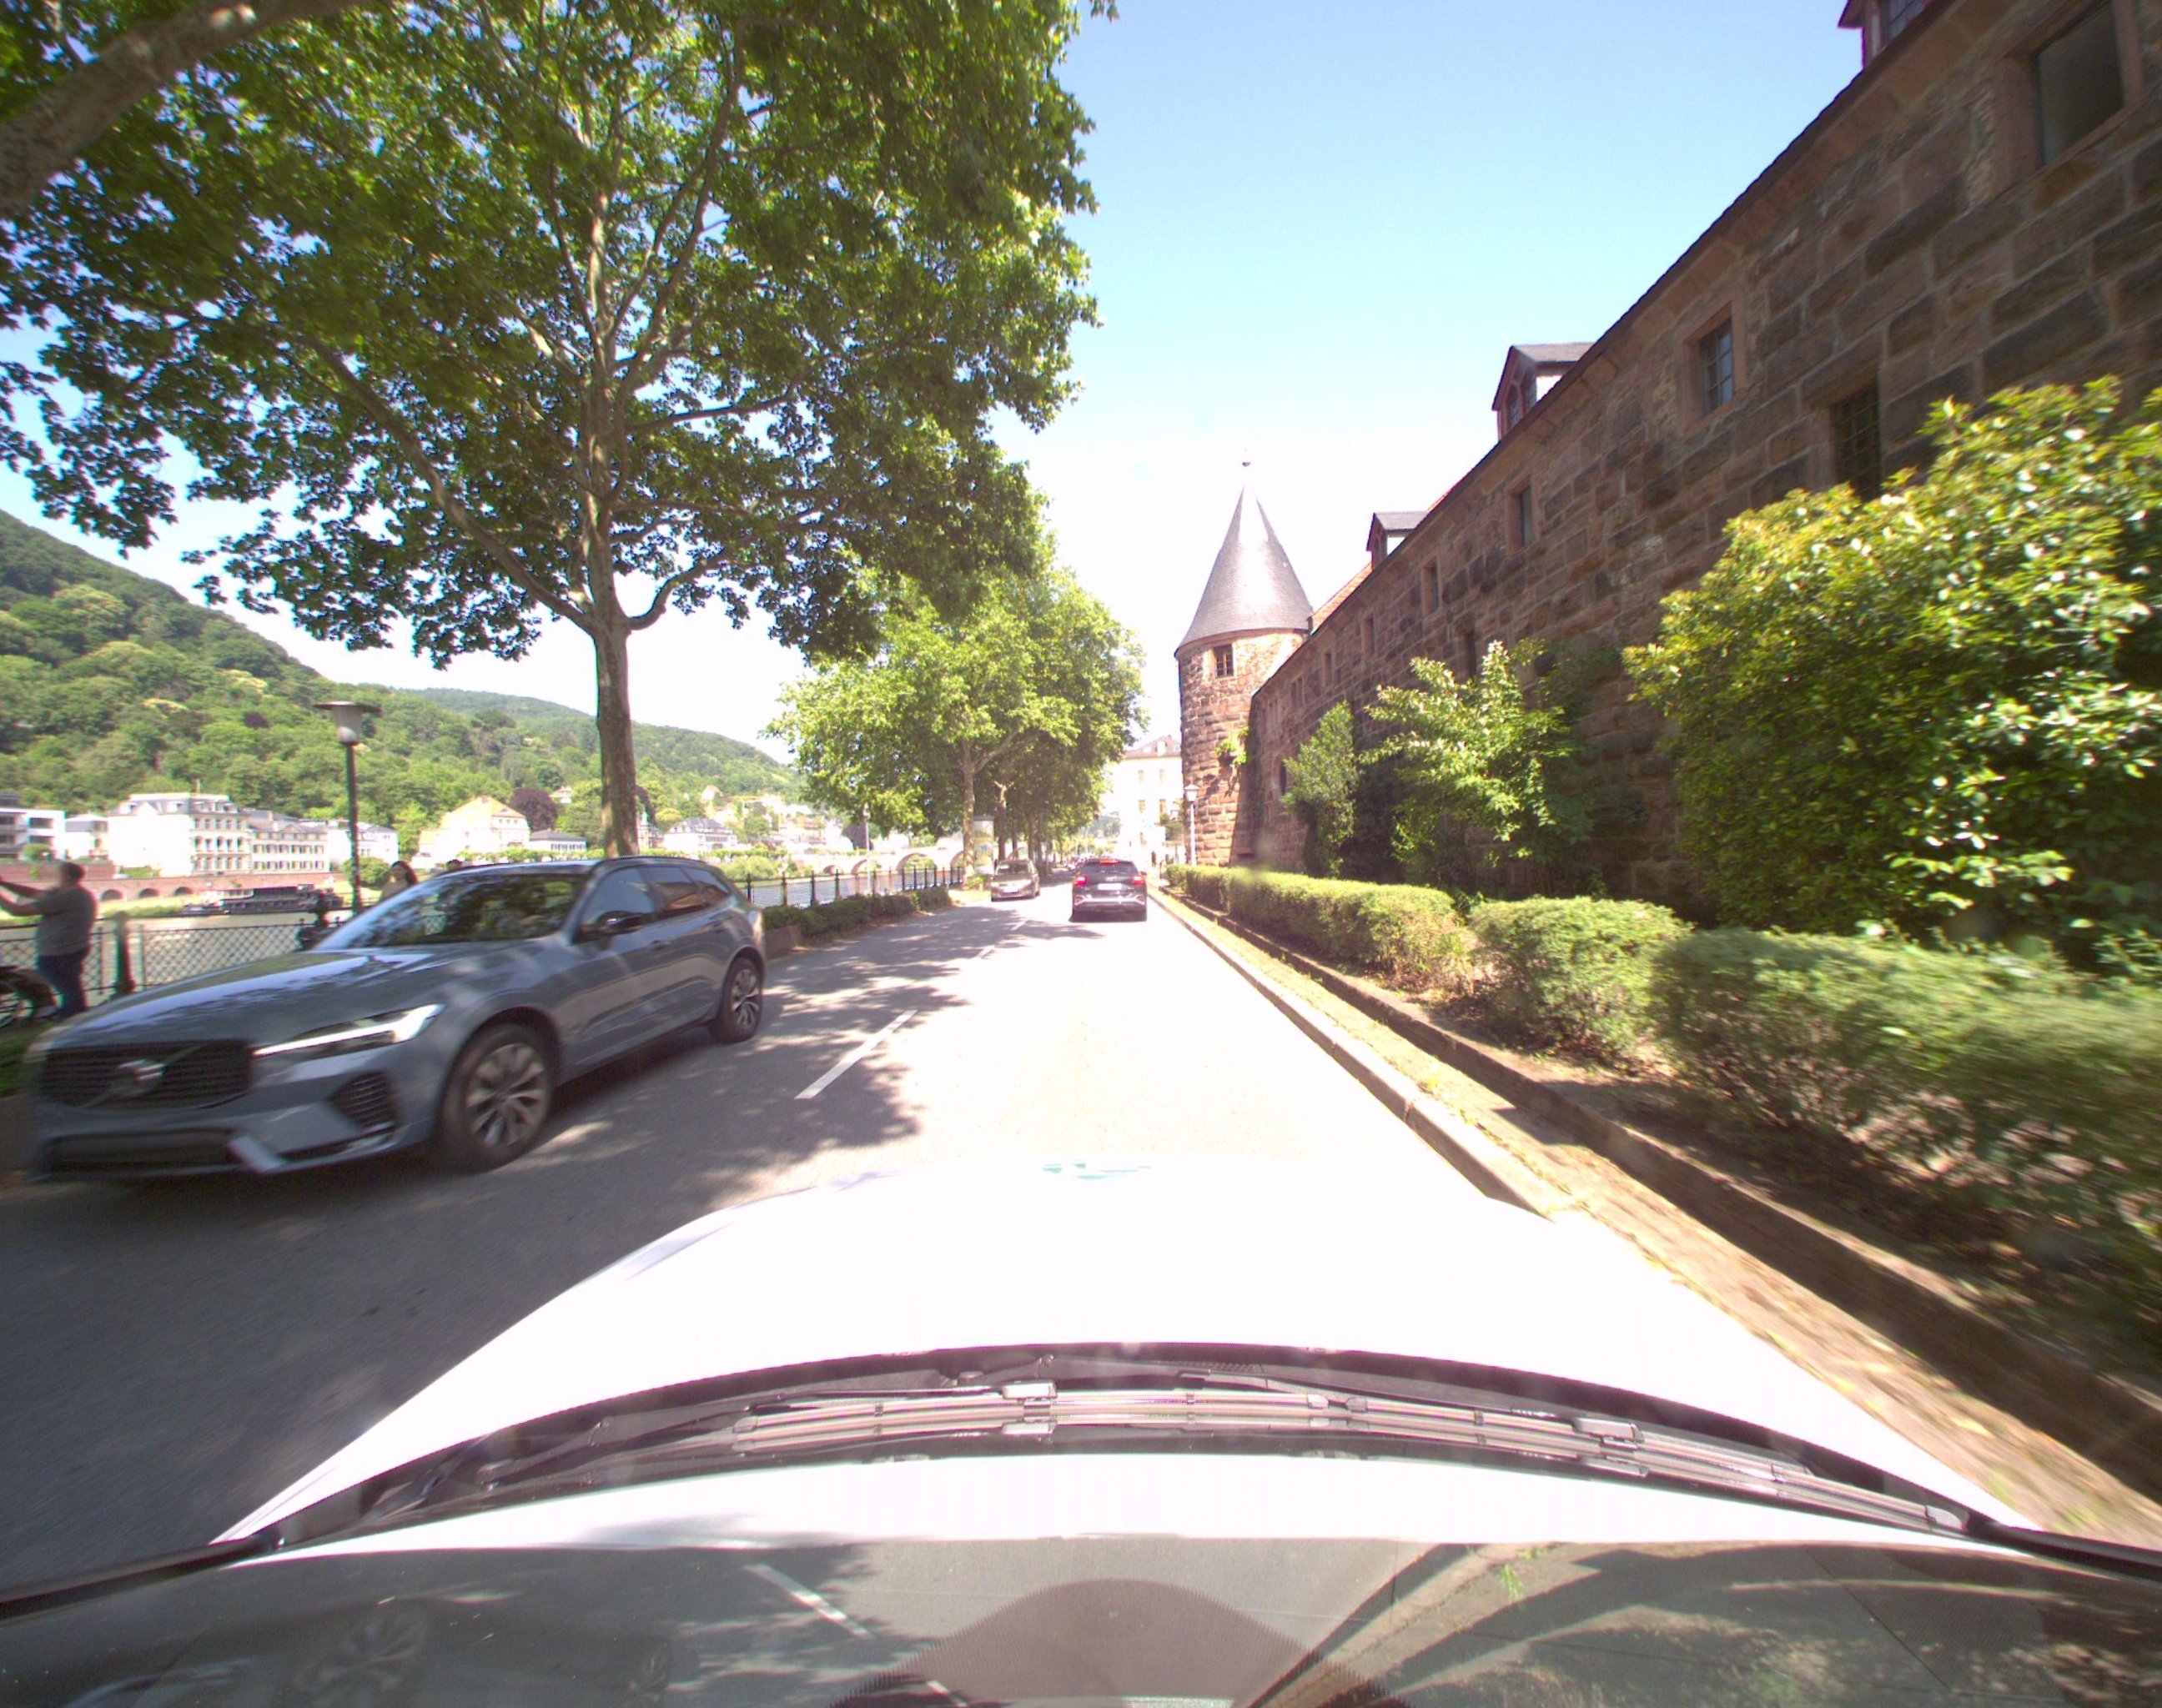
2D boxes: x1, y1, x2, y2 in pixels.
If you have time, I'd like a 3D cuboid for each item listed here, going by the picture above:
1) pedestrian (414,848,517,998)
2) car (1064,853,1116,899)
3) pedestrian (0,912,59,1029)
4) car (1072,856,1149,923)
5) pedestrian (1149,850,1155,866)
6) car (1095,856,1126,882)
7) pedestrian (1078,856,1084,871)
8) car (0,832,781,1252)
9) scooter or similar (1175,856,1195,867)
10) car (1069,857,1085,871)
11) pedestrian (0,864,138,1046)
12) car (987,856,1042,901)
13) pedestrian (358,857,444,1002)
[{"bbox_3d":[-8.062,0.875,10.697,0.638,1.870,0.806,-3,0,2],"label":"pedestrian"},{"bbox_3d":[0.390,0.809,31.422,1.794,1.562,3.717,-3,0,2],"label":"car"},{"bbox_3d":[-11.483,1.235,8.537,0.607,1.177,0.696,-3,-1,2],"label":"pedestrian"},{"bbox_3d":[0.686,0.809,20.242,1.742,1.494,3.629,0,0,1],"label":"car"},{"bbox_3d":[7.197,0.415,82.105,0.555,1.633,0.660,0,-1,2],"label":"pedestrian"},{"bbox_3d":[1.837,0.907,50.795,1.794,1.523,3.717,-2,0,2],"label":"car"},{"bbox_3d":[-0.017,1.027,91.579,0.516,1.638,0.438,-3,-1,-6],"label":"pedestrian"},{"bbox_3d":[-3.880,0.830,5.636,1.870,1.698,4.259,-4,-1,1],"label":"car"},{"bbox_3d":[9.512,0.665,74.611,1.838,0.963,0.429,0,-1,0],"label":"scooter or similar"},{"bbox_3d":[-0.455,1.167,97.988,1.608,1.523,3.479,-3,0,3],"label":"car"},{"bbox_3d":[-10.287,0.959,8.125,0.691,1.717,0.874,0,-1,0],"label":"pedestrian"},{"bbox_3d":[-2.684,0.964,33.758,1.757,1.647,4.091,-3,0,1],"label":"car"},{"bbox_3d":[-8.680,0.941,10.407,0.515,1.768,0.592,-3,-1,2],"label":"pedestrian"}]
